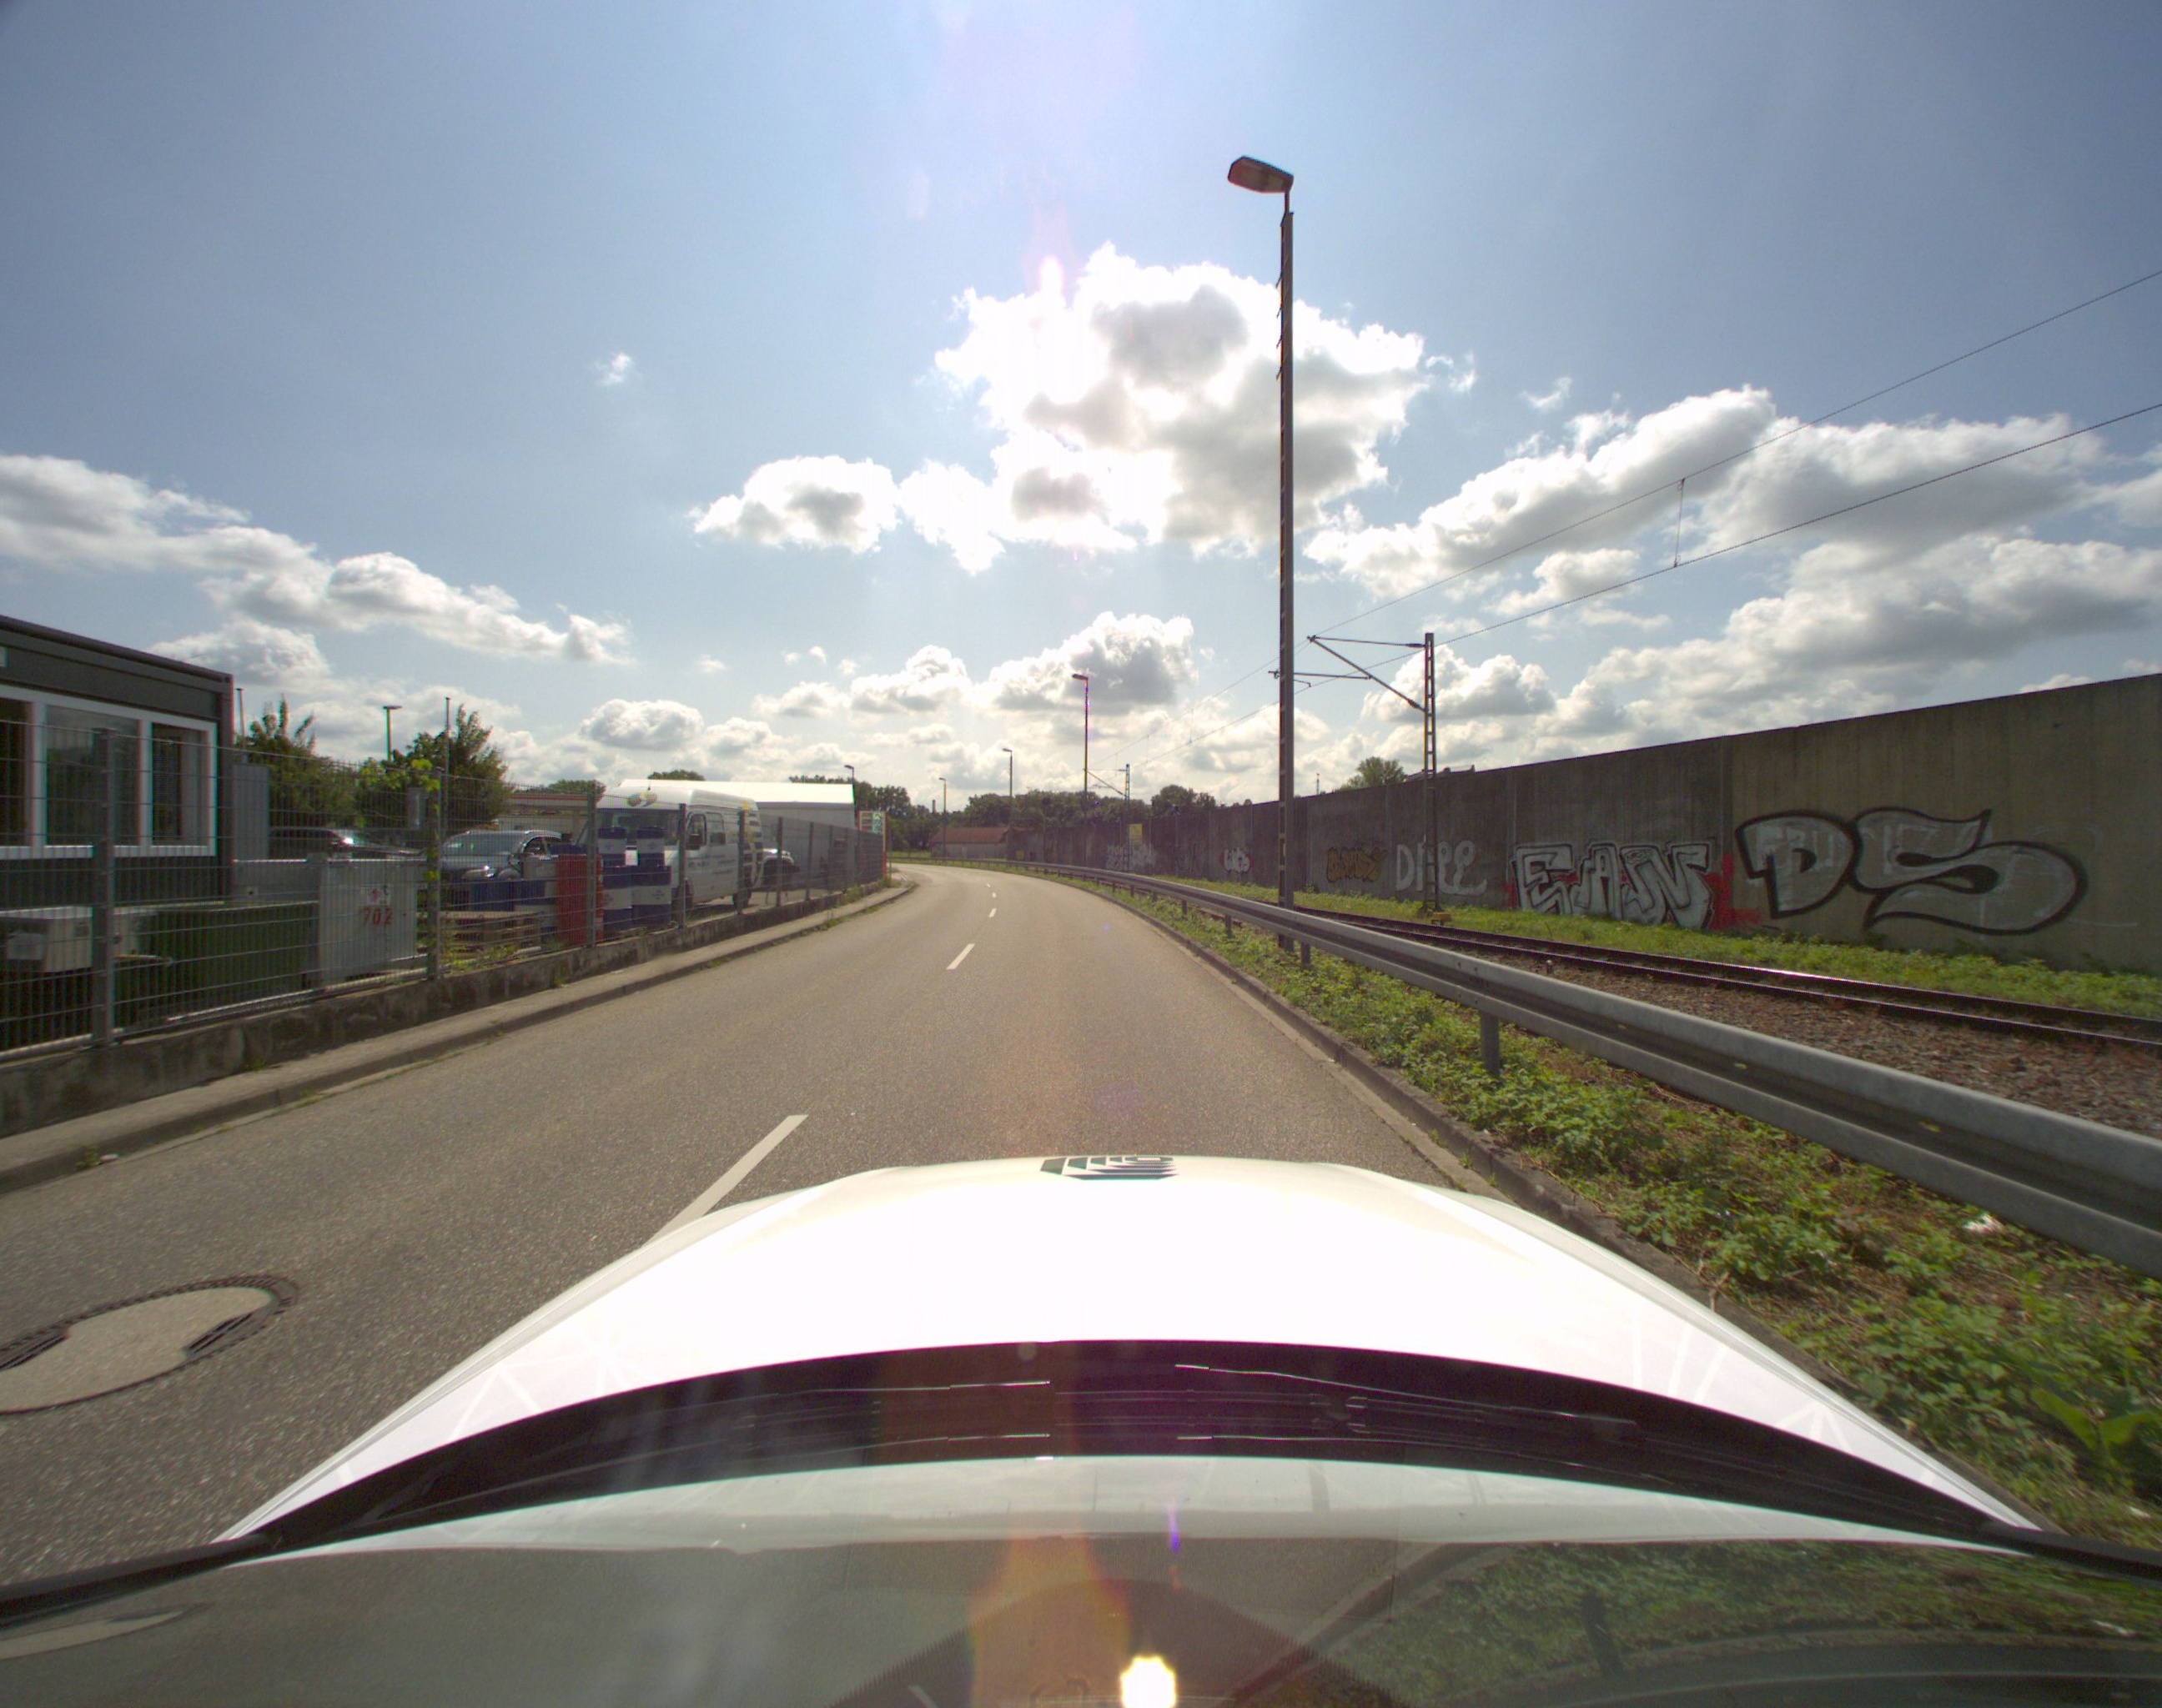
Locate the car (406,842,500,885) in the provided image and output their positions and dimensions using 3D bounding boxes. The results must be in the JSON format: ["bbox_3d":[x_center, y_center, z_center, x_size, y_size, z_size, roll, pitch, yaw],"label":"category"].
[{"bbox_3d":[-28.290,0.415,36.875,2.000,1.778,4.568,0,0,-19],"label":"car"}]

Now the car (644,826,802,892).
[{"bbox_3d":[-11.614,0.143,26.708,4.573,2.026,2.044,0,0,-22],"label":"car"}]

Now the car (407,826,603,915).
[{"bbox_3d":[-12.097,0.301,17.472,1.979,1.668,3.984,-1,0,-12],"label":"car"}]

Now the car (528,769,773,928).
[{"bbox_3d":[-8.195,-0.115,16.497,2.117,2.537,6.700,-1,0,-7],"label":"car"}]
